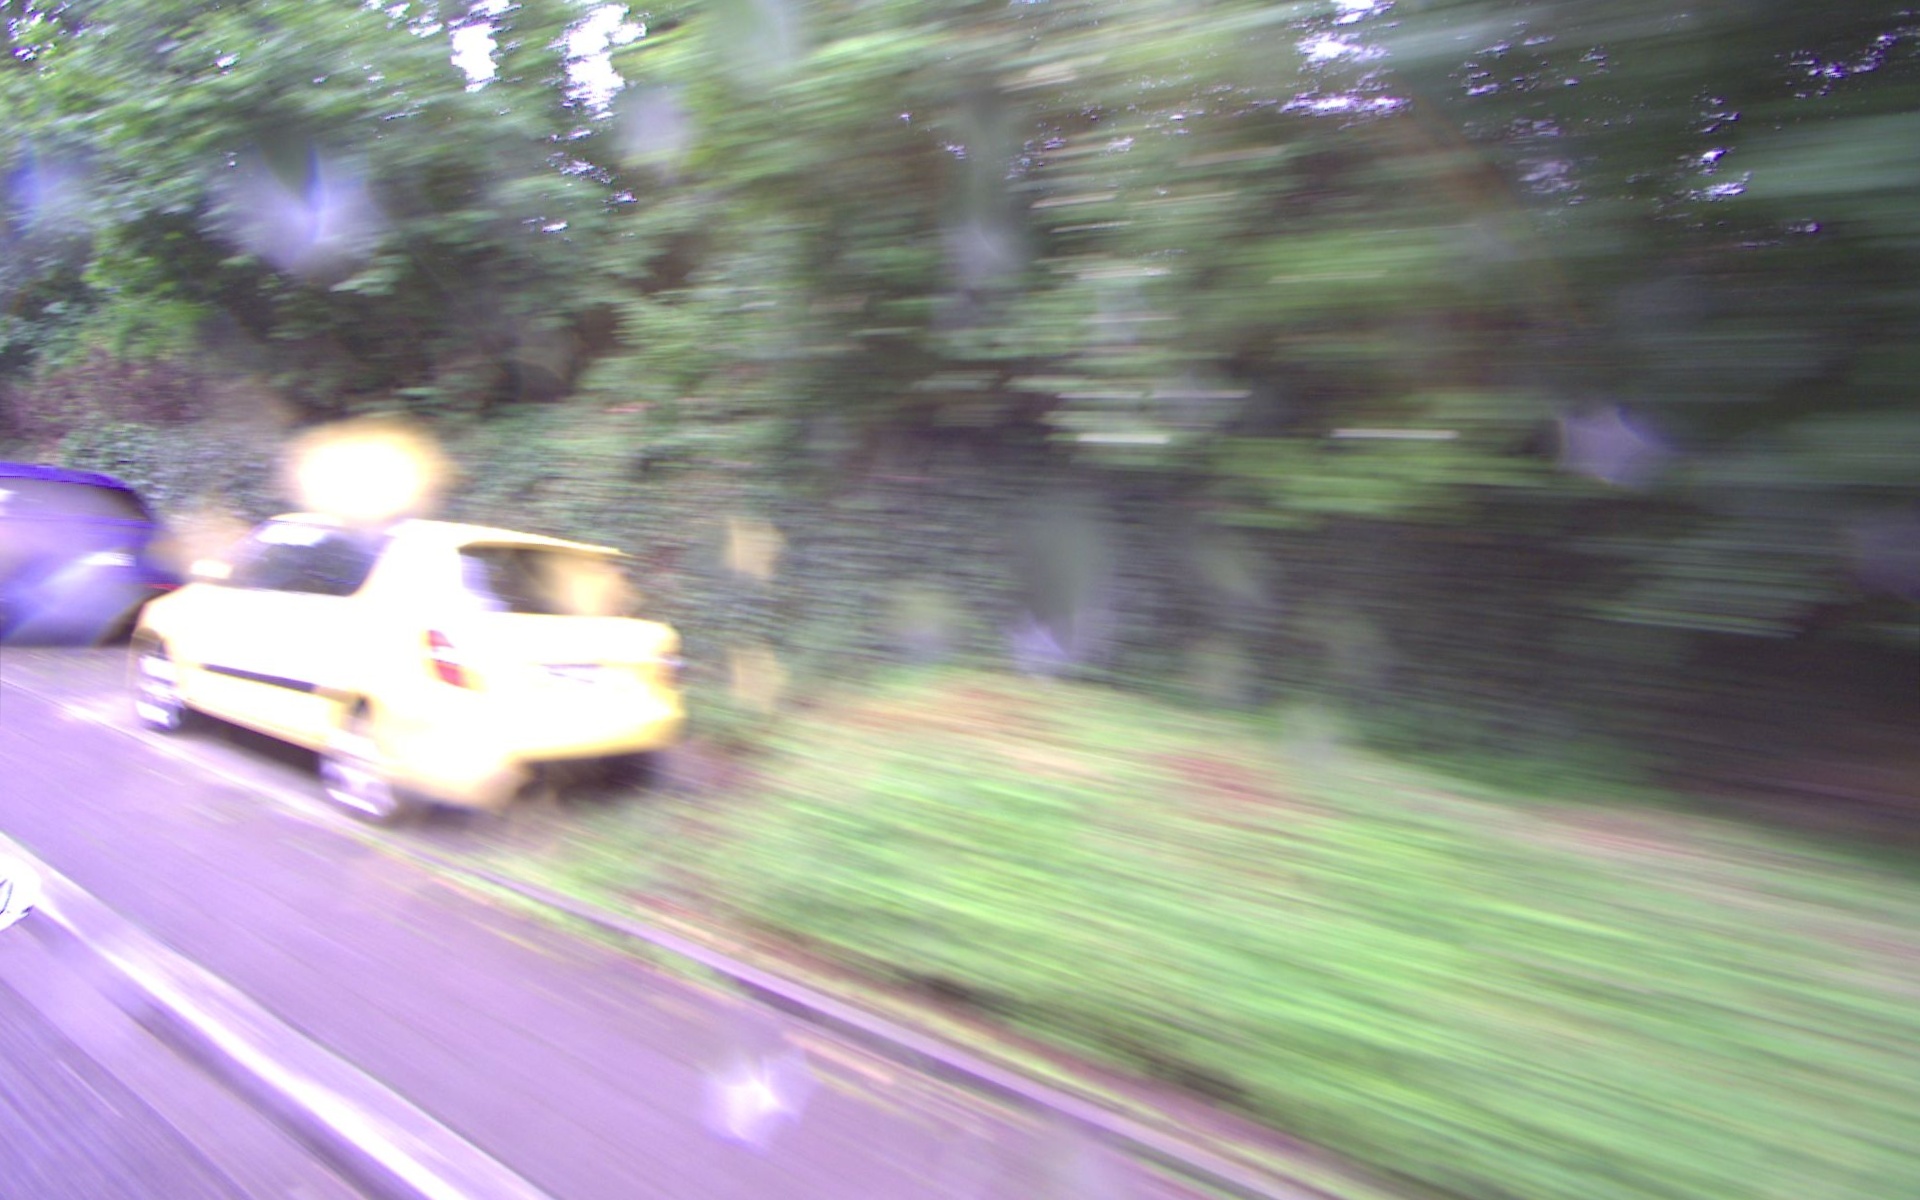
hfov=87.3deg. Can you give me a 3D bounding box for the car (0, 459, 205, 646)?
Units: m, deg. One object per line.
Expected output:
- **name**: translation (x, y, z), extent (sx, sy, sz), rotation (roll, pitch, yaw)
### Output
- **car**: translation (-9.525, -0.579, 9.916), extent (4.344, 1.550, 1.811), rotation (7, 2, 32)

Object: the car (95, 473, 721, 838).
- **car**: translation (-3.574, 0.197, 6.299), extent (3.935, 1.548, 1.635), rotation (7, -1, 33)
